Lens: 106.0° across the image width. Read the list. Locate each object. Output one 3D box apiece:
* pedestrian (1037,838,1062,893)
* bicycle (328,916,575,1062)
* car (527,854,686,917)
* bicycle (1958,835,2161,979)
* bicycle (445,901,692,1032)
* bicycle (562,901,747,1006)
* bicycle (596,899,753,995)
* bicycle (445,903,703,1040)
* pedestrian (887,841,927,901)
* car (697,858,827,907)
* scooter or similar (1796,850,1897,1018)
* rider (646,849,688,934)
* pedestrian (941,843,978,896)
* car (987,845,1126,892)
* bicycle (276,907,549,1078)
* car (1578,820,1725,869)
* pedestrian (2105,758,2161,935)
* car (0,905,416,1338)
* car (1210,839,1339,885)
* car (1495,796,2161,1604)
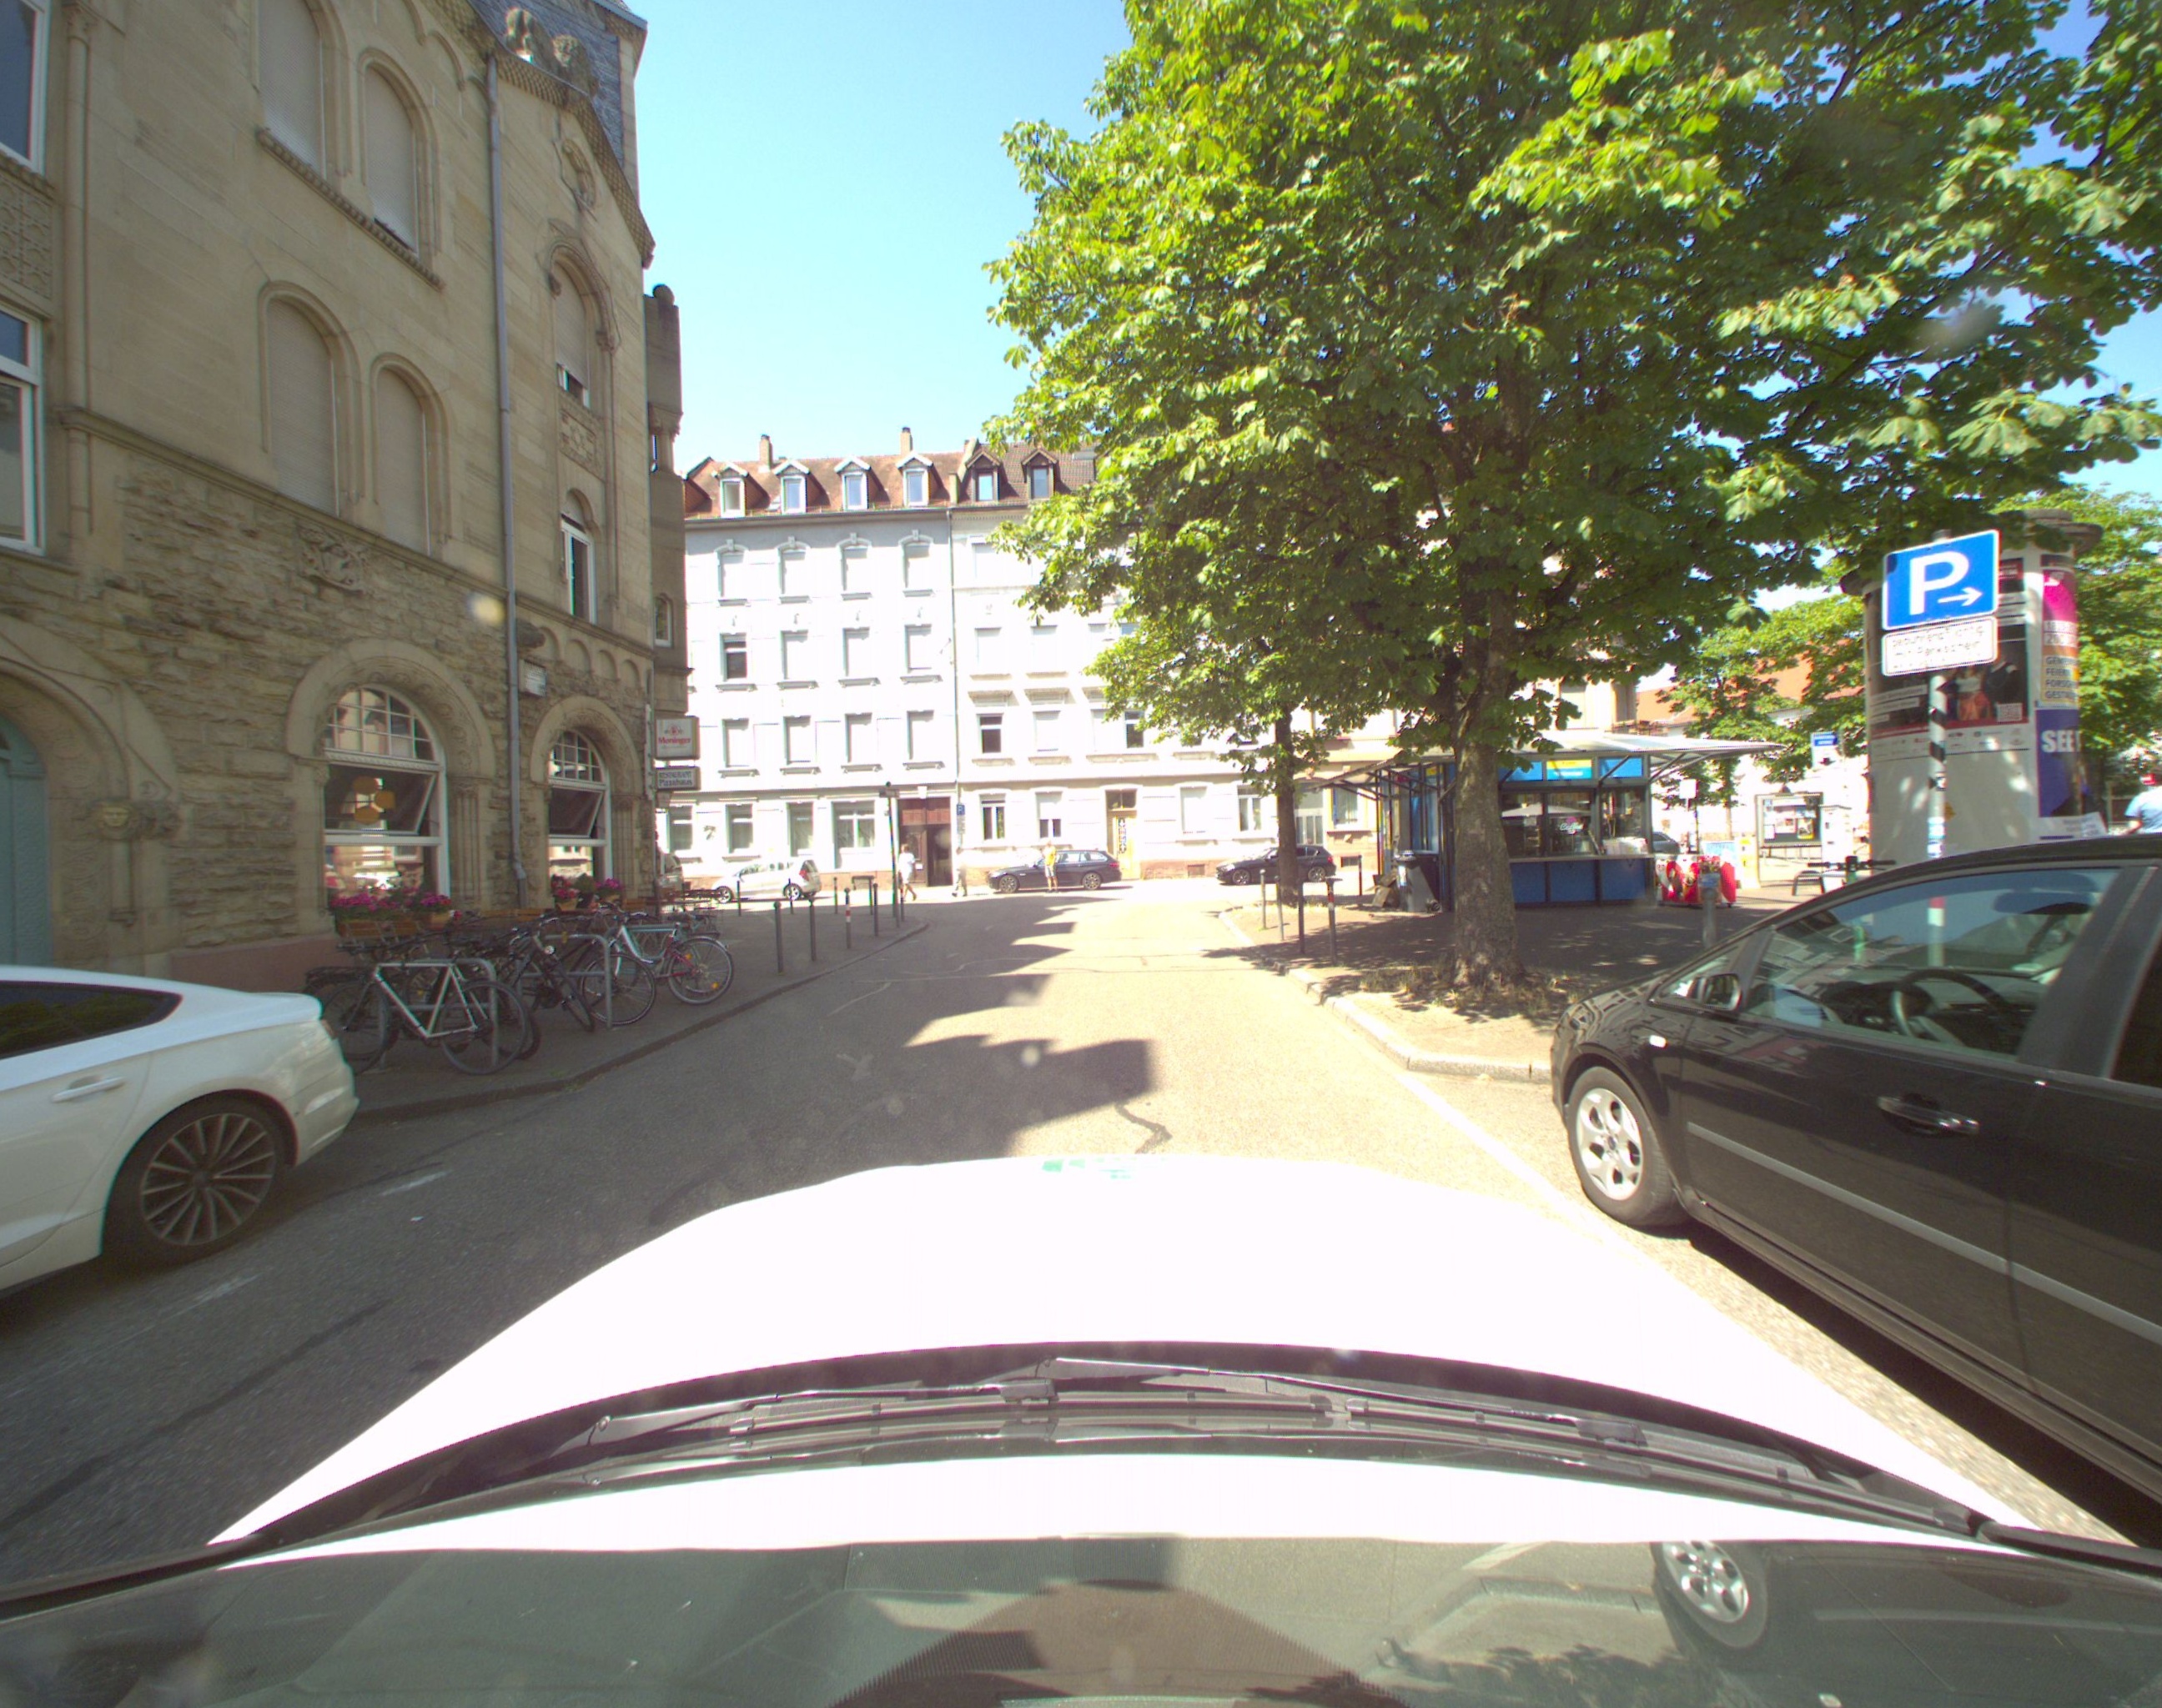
[{"bbox_3d":[-1.101,0.391,28.515,0.724,1.853,0.683,-3,0,-7],"label":"pedestrian"},{"bbox_3d":[-4.984,1.060,6.486,1.698,1.100,0.292,0,0,-2],"label":"bicycle"},{"bbox_3d":[-17.532,1.138,30.230,4.688,1.997,1.878,-3,2,1],"label":"car"},{"bbox_3d":[8.413,0.396,6.567,1.892,1.039,0.634,-3,0,3],"label":"bicycle"},{"bbox_3d":[-4.751,1.031,7.611,1.989,1.129,0.436,-1,0,-2],"label":"bicycle"},{"bbox_3d":[-4.446,1.024,8.536,1.700,1.045,0.414,0,0,-2],"label":"bicycle"},{"bbox_3d":[-4.462,1.015,8.984,1.521,1.008,0.367,0,0,-2],"label":"bicycle"},{"bbox_3d":[-4.433,1.026,7.182,1.966,1.129,0.395,1,0,-2],"label":"bicycle"},{"bbox_3d":[-5.613,0.536,26.265,0.844,1.889,0.939,-3,0,13],"label":"pedestrian"},{"bbox_3d":[-11.817,1.046,30.339,4.032,1.562,1.807,-3,0,1],"label":"car"},{"bbox_3d":[5.866,0.562,6.280,0.437,1.136,1.193,-3,0,39],"label":"scooter or similar"},{"bbox_3d":[-8.592,0.774,16.900,0.544,1.697,0.634,-2,0,-43],"label":"rider"},{"bbox_3d":[-4.282,0.522,28.807,0.894,1.814,0.964,-3,0,14],"label":"pedestrian"},{"bbox_3d":[-0.818,0.523,29.719,4.840,1.437,2.001,-3,0,2],"label":"car"},{"bbox_3d":[-5.030,1.031,6.164,1.698,1.100,0.292,-5,0,-2],"label":"bicycle"},{"bbox_3d":[20.359,-0.344,29.195,3.972,1.506,1.779,-3,0,1],"label":"car"},{"bbox_3d":[11.595,-0.087,8.857,0.657,1.869,0.514,-2,-1,-39],"label":"pedestrian"},{"bbox_3d":[-4.524,1.014,2.161,1.696,1.352,4.515,-4,0,0],"label":"car"},{"bbox_3d":[6.947,0.272,29.588,4.277,1.370,1.808,-3,2,2],"label":"car"},{"bbox_3d":[2.908,0.655,2.132,1.657,1.540,4.180,0,0,2],"label":"car"}]
